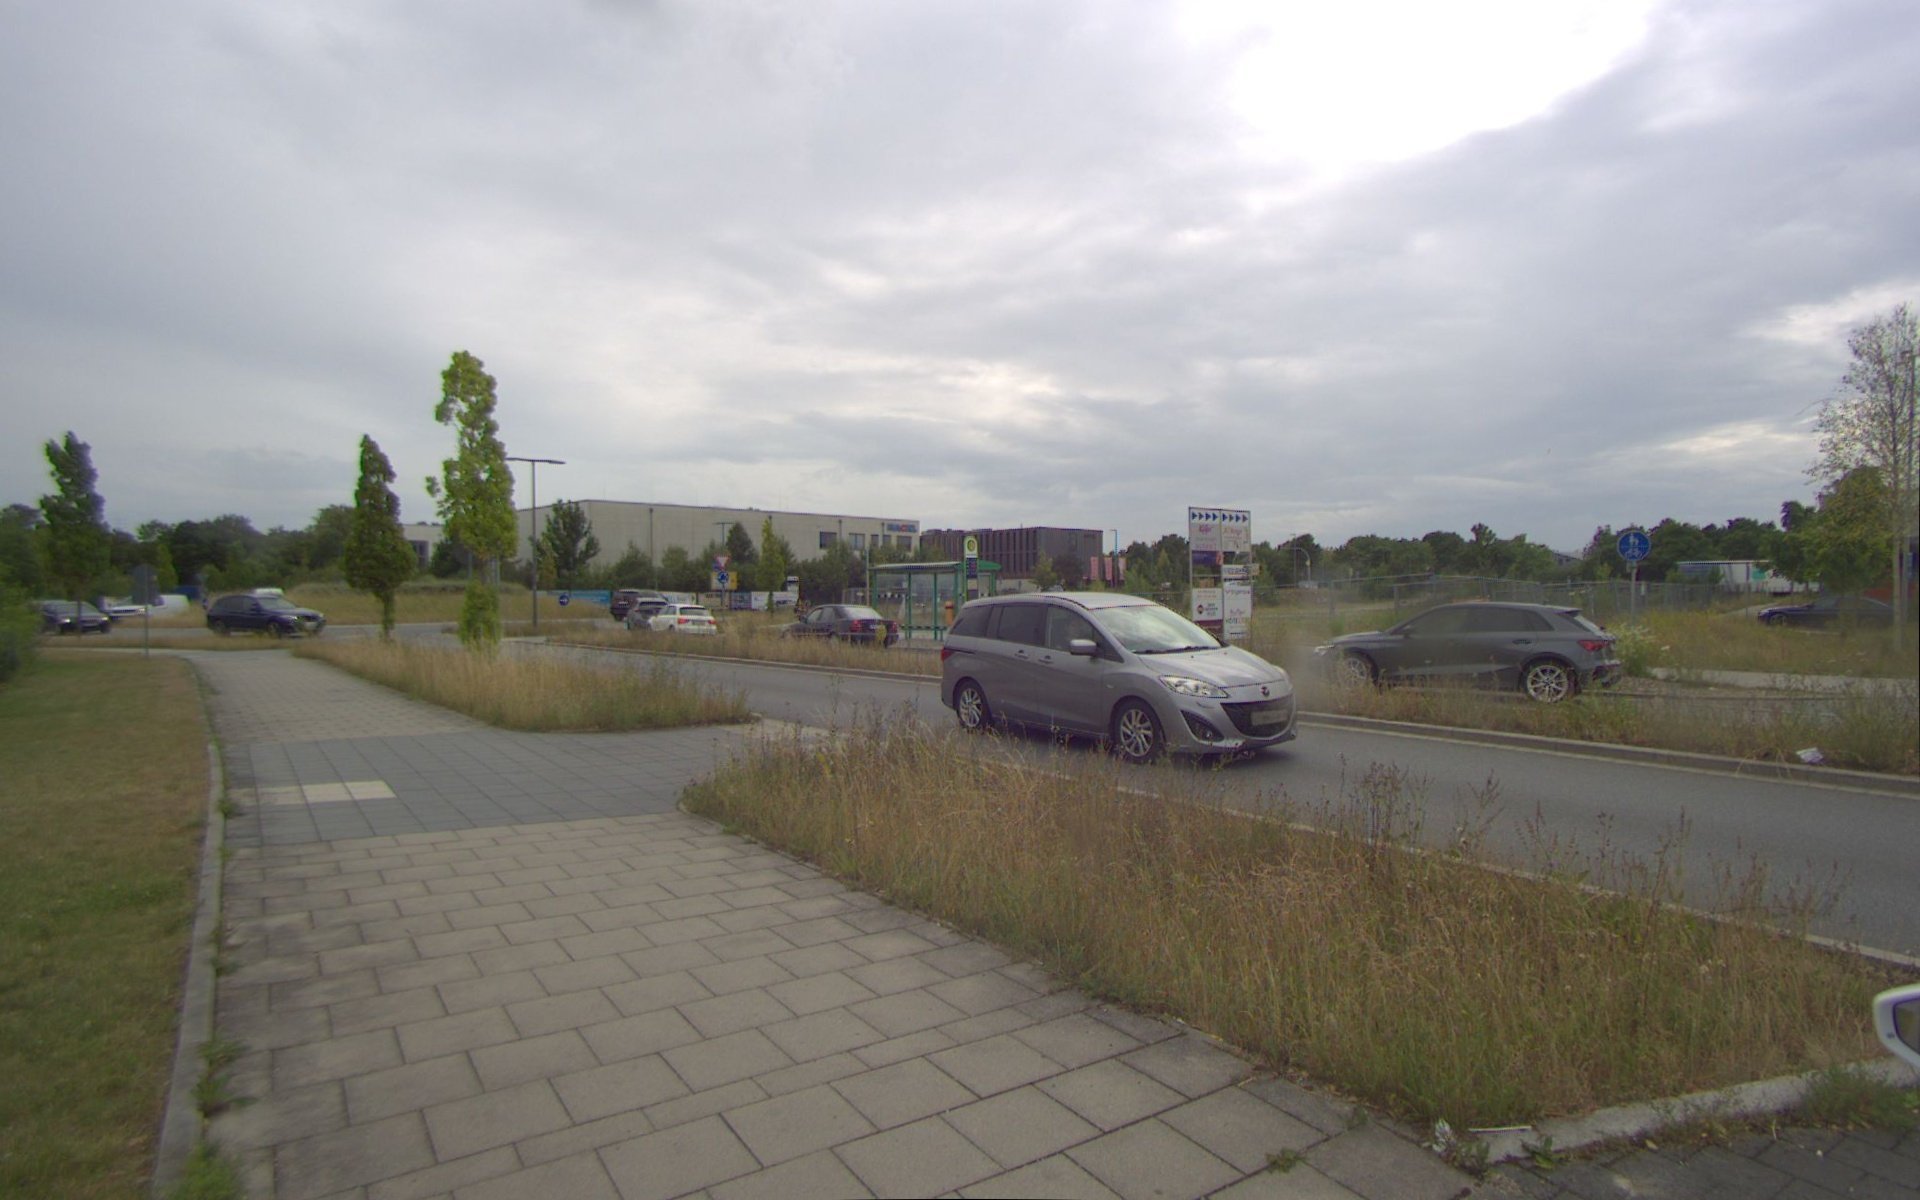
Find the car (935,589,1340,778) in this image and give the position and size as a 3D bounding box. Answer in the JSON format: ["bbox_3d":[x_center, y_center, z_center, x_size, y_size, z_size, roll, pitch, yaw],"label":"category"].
[{"bbox_3d":[1.670,0.700,10.899,1.802,1.584,4.359,-2,1,-34],"label":"car"}]

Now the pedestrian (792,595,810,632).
[{"bbox_3d":[-7.499,0.635,47.349,0.729,1.745,0.650,1,1,-3],"label":"pedestrian"}]

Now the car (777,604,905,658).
[{"bbox_3d":[-3.565,0.855,29.549,1.775,1.414,4.323,1,0,-38],"label":"car"}]

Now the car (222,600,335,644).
[{"bbox_3d":[-27.376,0.844,40.343,3.923,1.662,1.894,0,1,23],"label":"car"}]

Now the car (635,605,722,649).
[{"bbox_3d":[-10.818,0.986,38.419,1.744,1.500,4.009,0,1,-40],"label":"car"}]

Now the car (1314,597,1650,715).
[{"bbox_3d":[7.787,0.727,15.191,4.253,1.486,1.790,1,1,39],"label":"car"}]

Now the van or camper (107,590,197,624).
[{"bbox_3d":[-48.480,0.378,60.397,1.947,1.916,4.835,-1,0,-8],"label":"van or camper"}]

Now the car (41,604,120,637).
[{"bbox_3d":[-38.637,0.882,44.108,3.233,1.372,1.558,0,1,28],"label":"car"}]

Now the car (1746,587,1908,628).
[{"bbox_3d":[36.662,0.285,42.578,1.984,1.578,4.965,0,1,-40],"label":"car"}]

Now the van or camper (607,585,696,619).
[{"bbox_3d":[-16.986,0.110,55.505,1.966,1.772,4.560,1,1,32],"label":"van or camper"}]

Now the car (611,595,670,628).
[{"bbox_3d":[-14.417,0.500,45.238,1.698,1.361,4.030,0,1,-31],"label":"car"}]

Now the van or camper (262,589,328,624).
[{"bbox_3d":[-50.963,0.456,77.142,1.963,2.617,5.460,1,1,-7],"label":"van or camper"}]
